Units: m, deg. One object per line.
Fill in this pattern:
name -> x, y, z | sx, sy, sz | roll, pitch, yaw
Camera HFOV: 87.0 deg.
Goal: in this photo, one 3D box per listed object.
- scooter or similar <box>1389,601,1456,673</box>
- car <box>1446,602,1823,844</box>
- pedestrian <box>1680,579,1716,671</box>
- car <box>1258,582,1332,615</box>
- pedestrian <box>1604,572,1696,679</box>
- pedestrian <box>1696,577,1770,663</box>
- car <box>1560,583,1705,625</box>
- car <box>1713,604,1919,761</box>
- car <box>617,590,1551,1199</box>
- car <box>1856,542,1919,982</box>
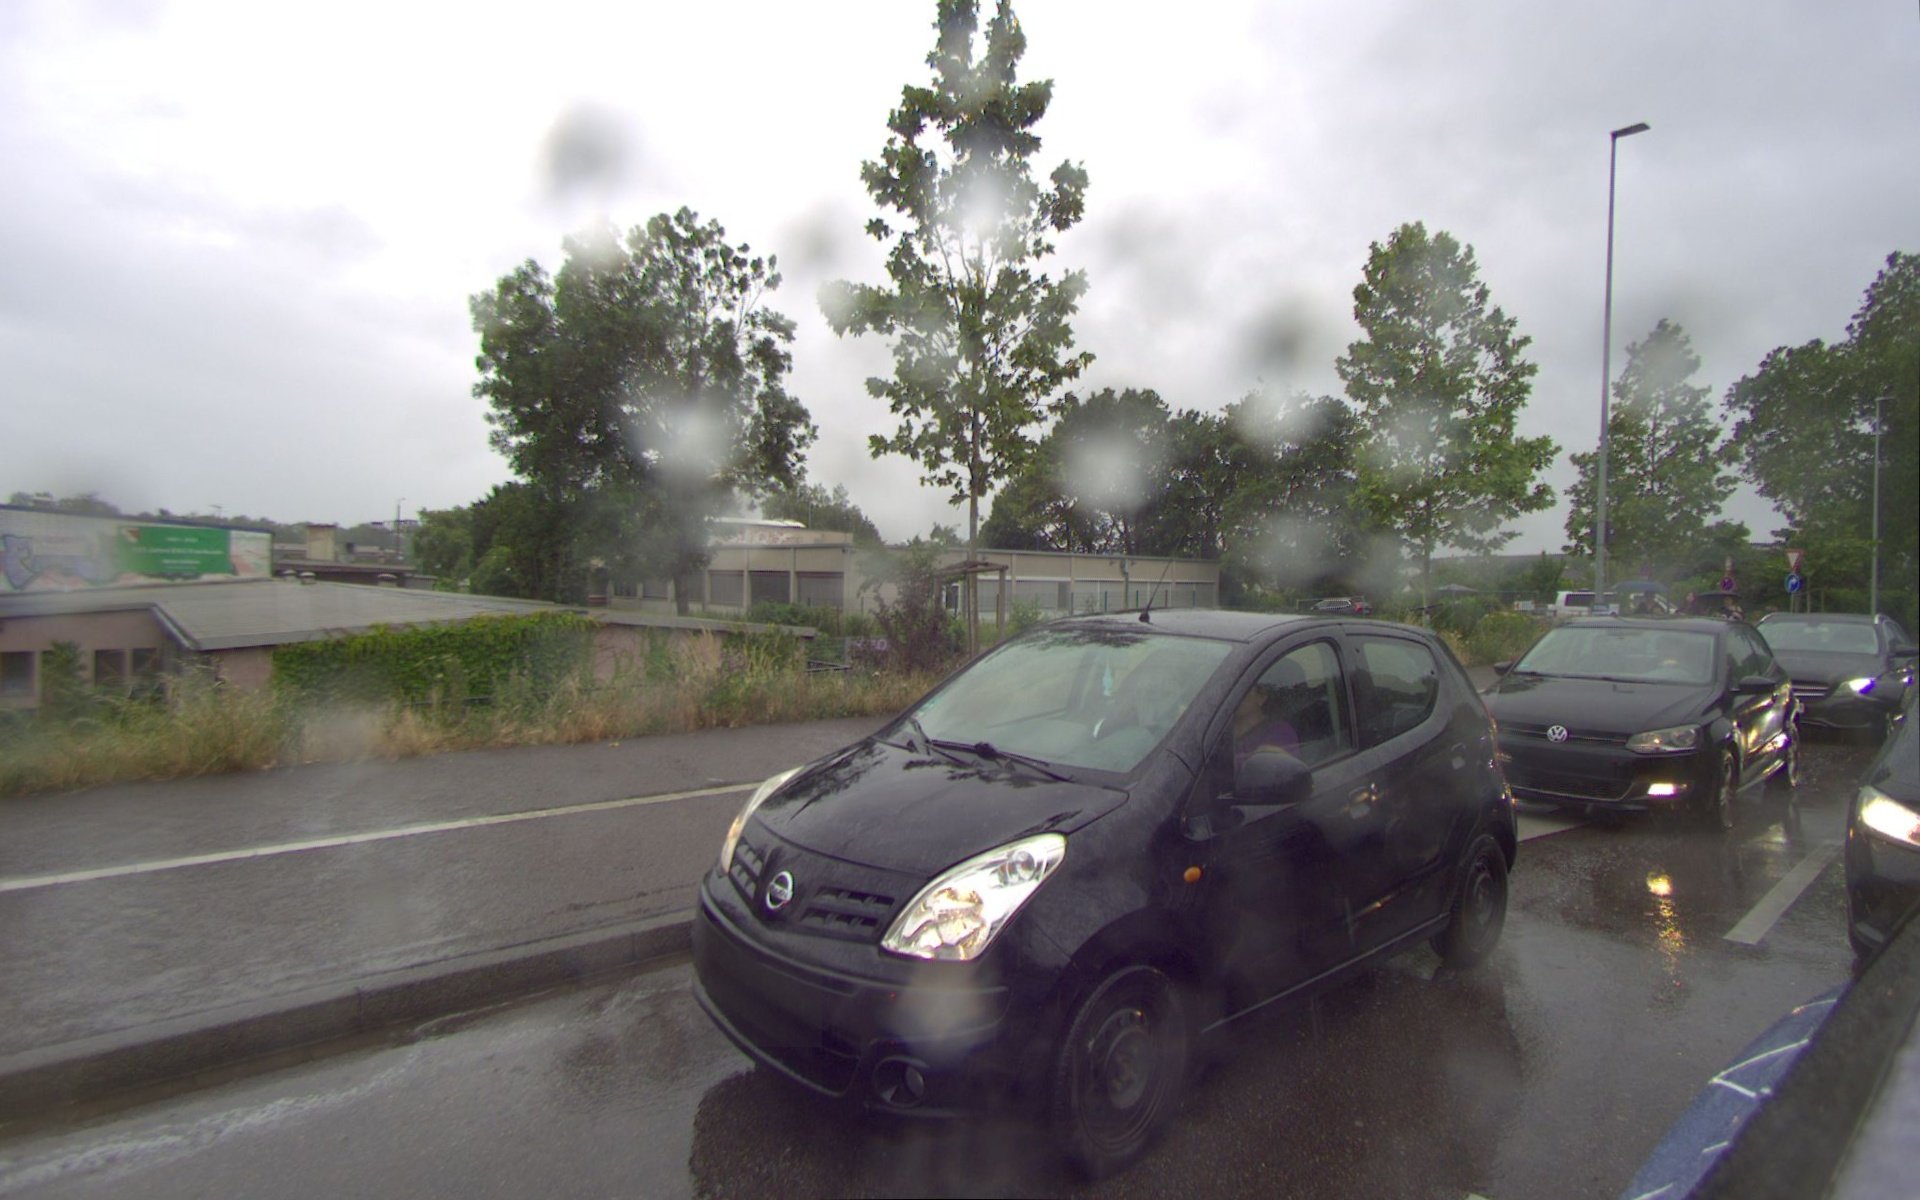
scooter or similar -> 7.894, 0.609, 17.244 | 1.747, 1.144, 0.380 | -1, 2, -43
car -> 5.375, 0.753, 7.906 | 3.561, 1.447, 1.631 | 0, 0, -42
pedestrian -> 13.890, 0.456, 19.052 | 0.433, 1.682, 0.400 | 0, 3, -42
car -> 20.997, -0.100, 63.472 | 1.964, 2.039, 3.996 | 0, 0, -38
pedestrian -> 12.093, 0.411, 17.743 | 0.953, 1.777, 1.081 | 0, 2, -42
pedestrian -> 16.298, 0.394, 21.353 | 0.876, 1.729, 1.024 | 0, 3, -41
car -> 28.107, 0.128, 42.399 | 1.966, 1.670, 4.752 | -1, 1, -42
car -> 10.832, 0.871, 12.500 | 3.747, 1.594, 1.697 | -1, 0, -41
car -> 0.746, 0.709, 3.880 | 3.561, 1.447, 1.631 | 0, 0, -42
car -> 5.482, 0.574, 4.525 | 4.091, 1.607, 1.688 | -1, 0, -41
